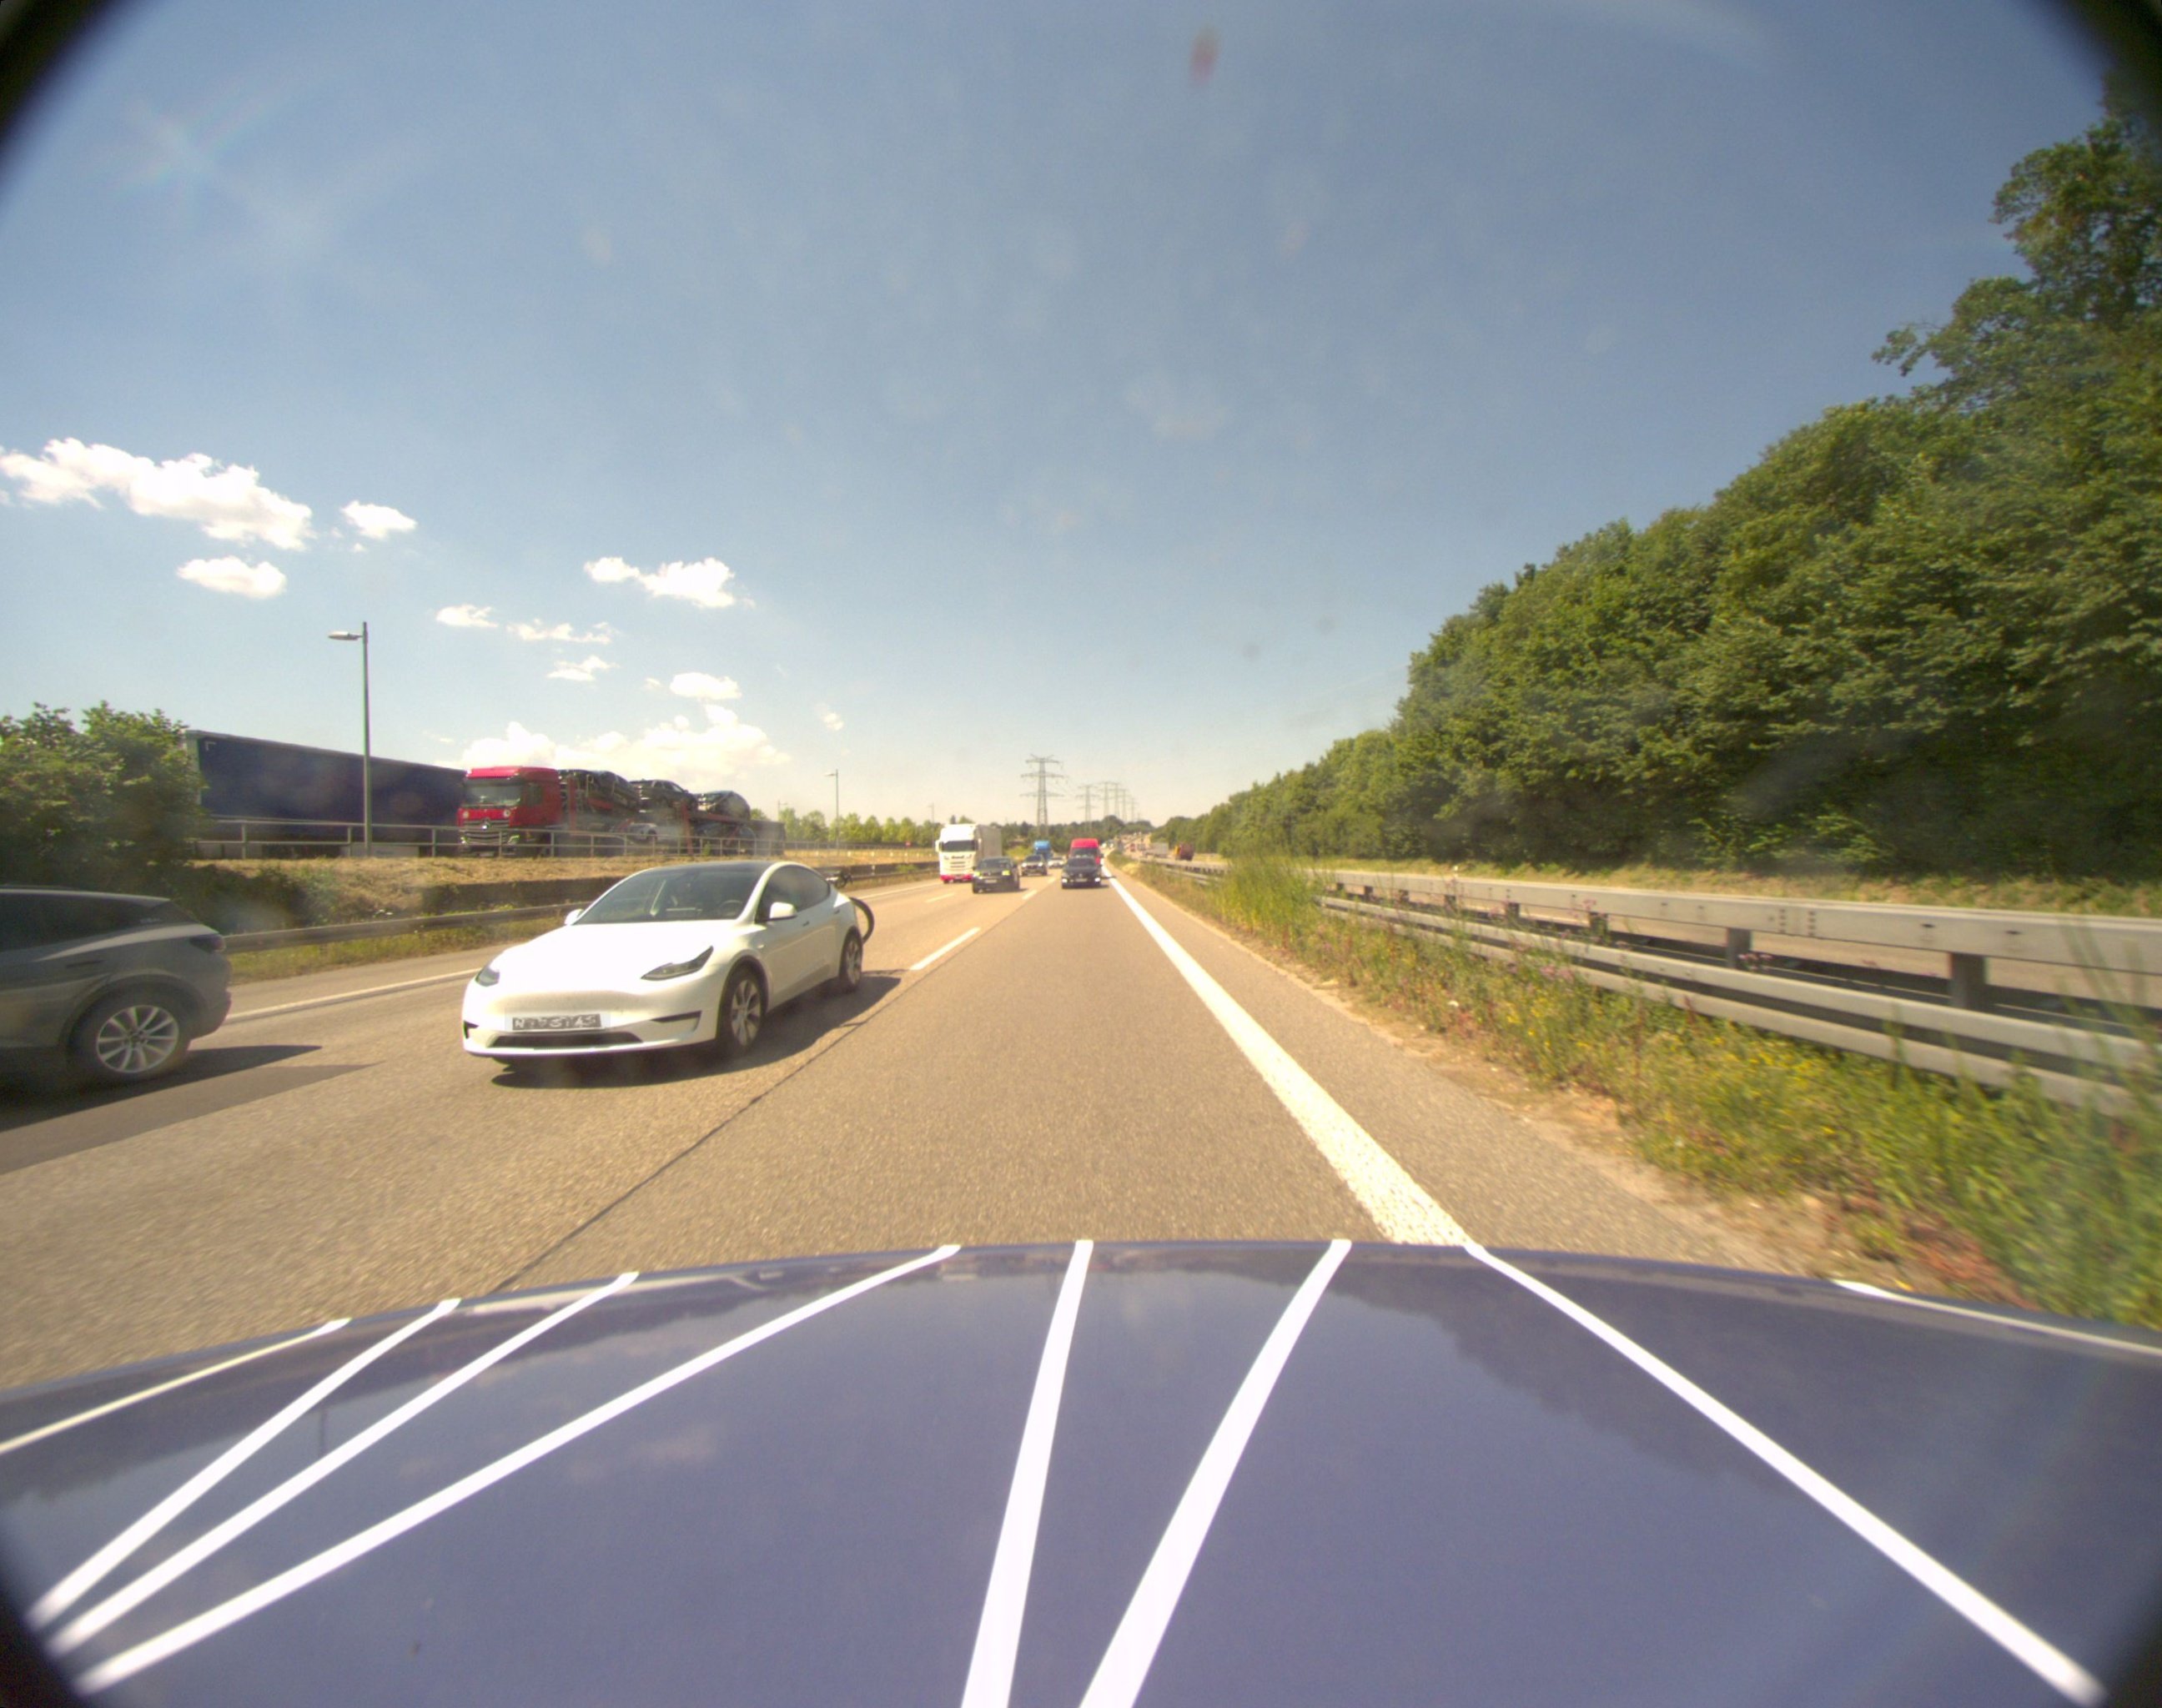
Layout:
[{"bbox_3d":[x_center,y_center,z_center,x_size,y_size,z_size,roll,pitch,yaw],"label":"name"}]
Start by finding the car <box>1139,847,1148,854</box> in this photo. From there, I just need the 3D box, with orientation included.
[{"bbox_3d":[16.603,-0.883,203.143,1.998,1.661,5.610,1,1,1],"label":"car"}]

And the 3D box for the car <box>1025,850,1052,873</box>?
[{"bbox_3d":[-3.359,0.576,60.677,1.749,1.691,4.088,-1,1,3],"label":"car"}]

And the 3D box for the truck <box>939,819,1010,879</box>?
[{"bbox_3d":[-7.723,-0.391,57.074,3.076,3.885,12.503,-3,1,1],"label":"truck"}]

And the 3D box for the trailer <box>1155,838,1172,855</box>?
[{"bbox_3d":[21.908,-1.973,202.531,3.462,4.255,7.968,-3,1,0],"label":"trailer"}]

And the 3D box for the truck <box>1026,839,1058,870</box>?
[{"bbox_3d":[-6.593,-0.065,130.898,3.797,4.971,14.924,-3,1,2],"label":"truck"}]

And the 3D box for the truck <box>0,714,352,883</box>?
[{"bbox_3d":[-25.945,-1.416,22.091,3.060,4.060,6.396,-3,1,0],"label":"truck"}]

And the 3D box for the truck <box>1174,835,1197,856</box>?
[{"bbox_3d":[19.788,-1.723,144.622,2.789,3.717,11.156,-3,1,1],"label":"truck"}]

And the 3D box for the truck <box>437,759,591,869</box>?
[{"bbox_3d":[-21.367,-1.446,28.925,2.608,3.805,3.999,-3,1,1],"label":"truck"}]

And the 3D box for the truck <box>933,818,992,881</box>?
[{"bbox_3d":[-7.767,-0.288,50.259,3.076,3.885,3.847,-3,1,1],"label":"truck"}]

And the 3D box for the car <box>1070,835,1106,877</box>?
[{"bbox_3d":[0.510,0.116,49.479,2.100,2.598,4.496,-1,1,3],"label":"car"}]

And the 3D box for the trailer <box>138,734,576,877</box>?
[{"bbox_3d":[-25.964,-1.520,29.423,3.060,4.060,14.255,-3,1,0],"label":"trailer"}]

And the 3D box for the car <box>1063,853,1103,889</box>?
[{"bbox_3d":[0.126,0.756,36.024,1.735,1.536,3.750,0,1,3],"label":"car"}]

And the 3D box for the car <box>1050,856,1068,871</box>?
[{"bbox_3d":[-2.599,1.087,89.864,1.878,1.591,3.688,-1,1,3],"label":"car"}]

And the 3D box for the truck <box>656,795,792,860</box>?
[{"bbox_3d":[-25.651,-1.821,55.760,3.798,4.060,12.516,-3,1,0],"label":"truck"}]

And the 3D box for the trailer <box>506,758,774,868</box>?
[{"bbox_3d":[-21.186,-1.752,39.272,2.612,4.233,18.419,-3,1,1],"label":"trailer"}]

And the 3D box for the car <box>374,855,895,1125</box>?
[{"bbox_3d":[-3.649,0.914,7.853,1.955,1.627,5.599,-3,1,1],"label":"car"}]

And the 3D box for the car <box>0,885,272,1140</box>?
[{"bbox_3d":[-8.229,1.156,4.494,1.873,1.627,4.585,-2,1,1],"label":"car"}]

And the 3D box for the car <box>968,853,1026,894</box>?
[{"bbox_3d":[-3.796,0.832,35.049,1.955,1.637,4.047,-3,1,3],"label":"car"}]
